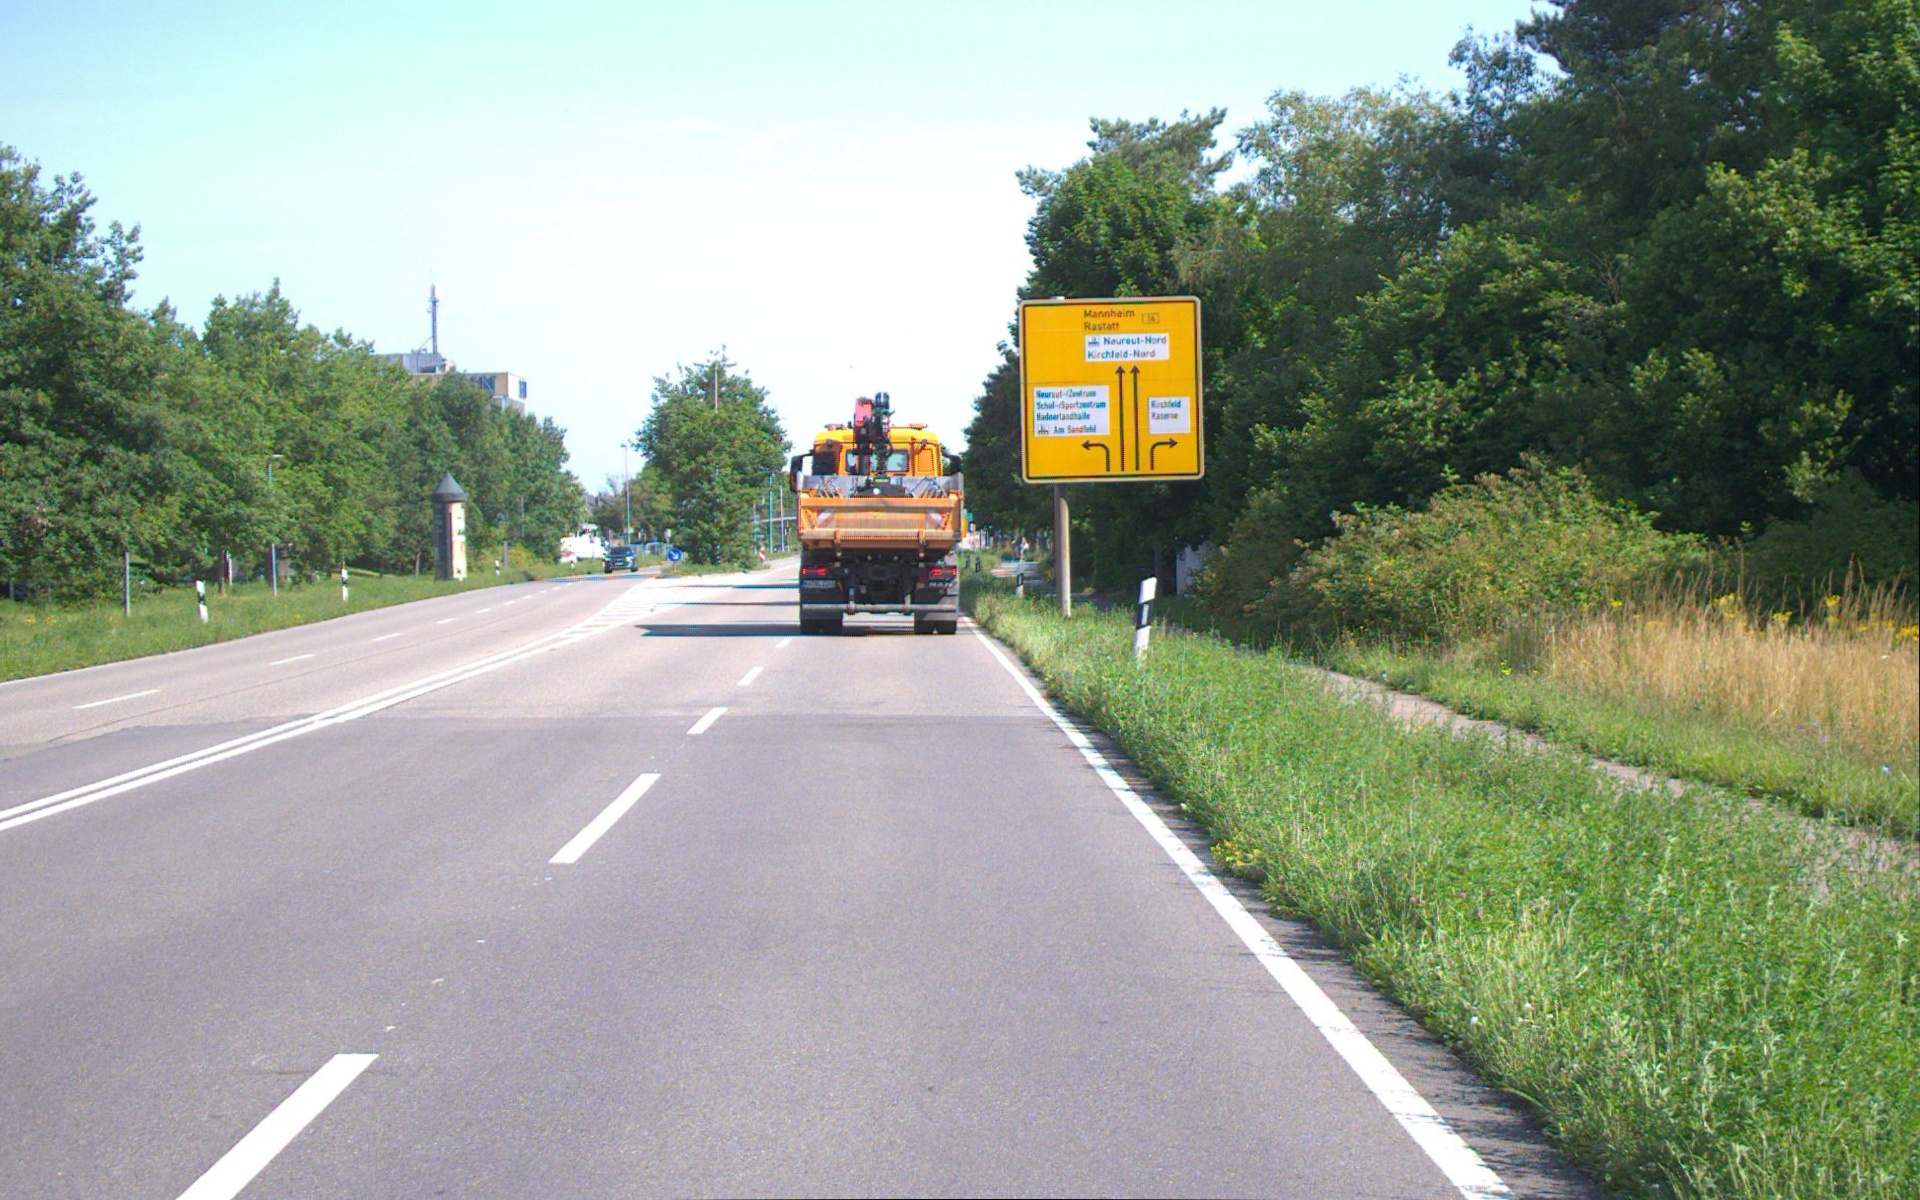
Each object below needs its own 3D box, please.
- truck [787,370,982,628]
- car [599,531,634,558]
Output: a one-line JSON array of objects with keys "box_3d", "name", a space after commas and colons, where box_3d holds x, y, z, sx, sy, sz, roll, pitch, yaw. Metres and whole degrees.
[{"box_3d": [-1.324, -1.600, 55.754, 2.871, 3.867, 7.401, 1, 1, -3], "name": "truck"}, {"box_3d": [-21.339, -3.443, 213.827, 1.800, 1.566, 4.000, -2, 1, -1], "name": "car"}]
